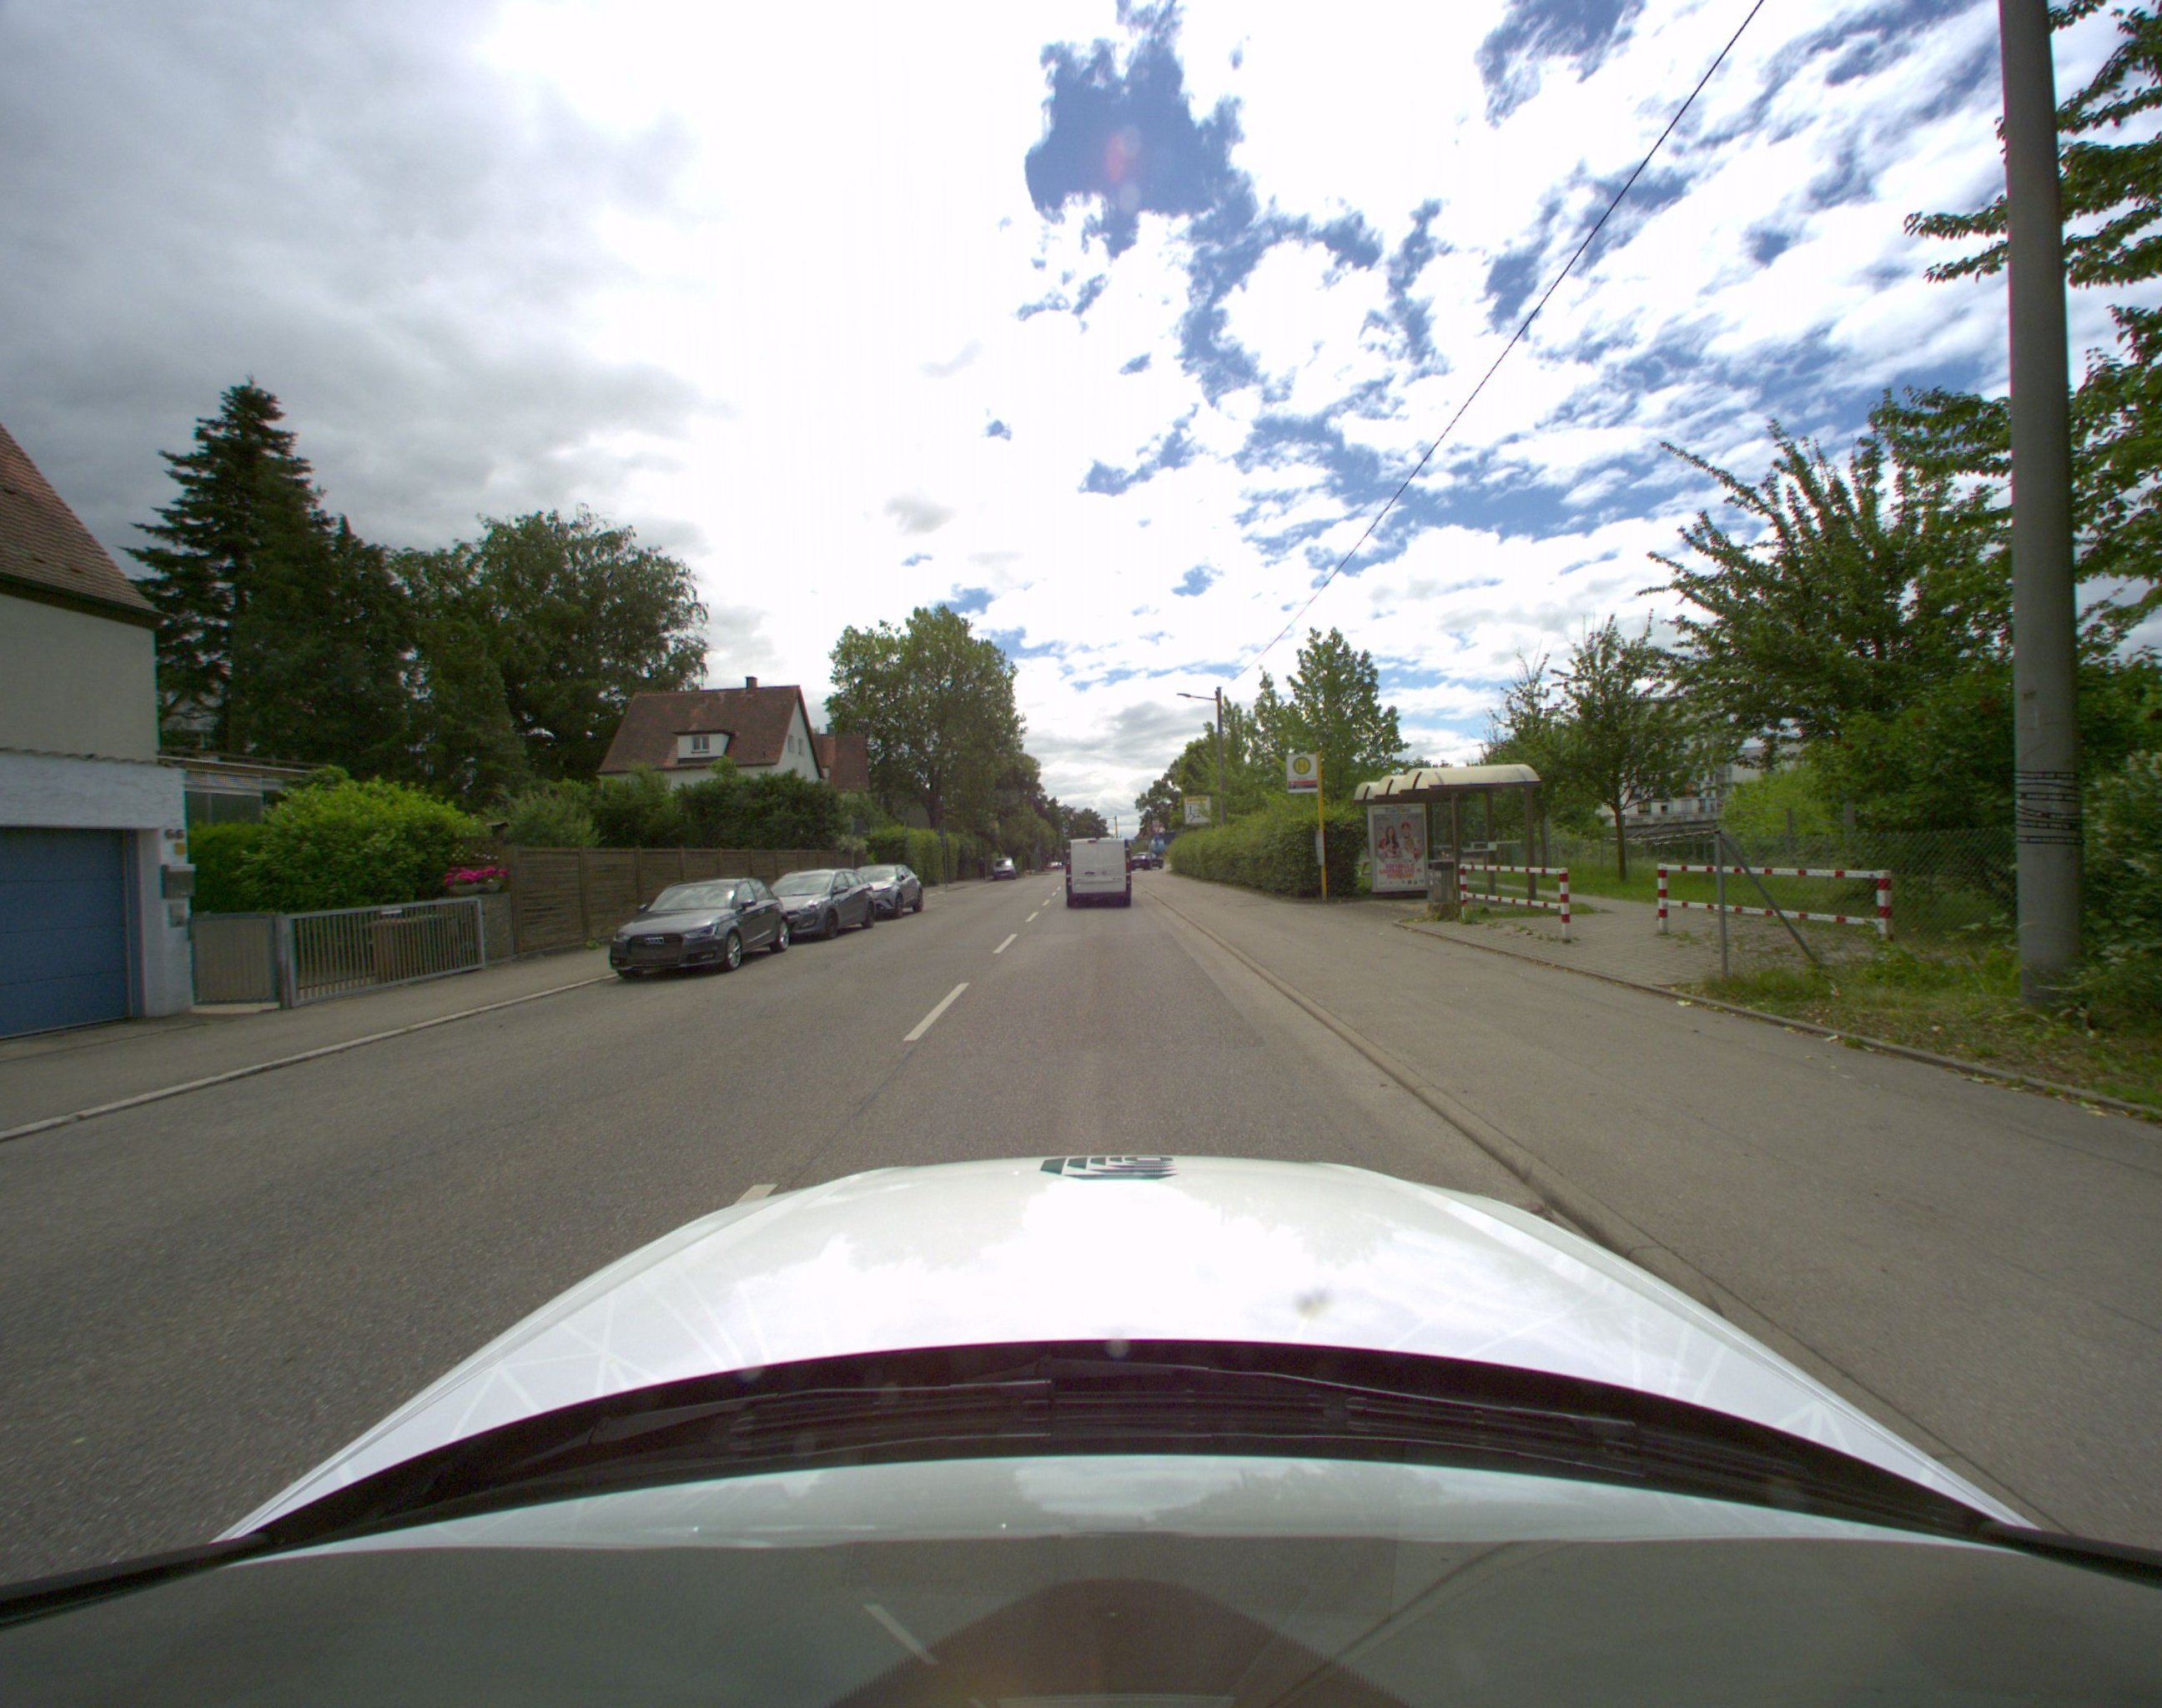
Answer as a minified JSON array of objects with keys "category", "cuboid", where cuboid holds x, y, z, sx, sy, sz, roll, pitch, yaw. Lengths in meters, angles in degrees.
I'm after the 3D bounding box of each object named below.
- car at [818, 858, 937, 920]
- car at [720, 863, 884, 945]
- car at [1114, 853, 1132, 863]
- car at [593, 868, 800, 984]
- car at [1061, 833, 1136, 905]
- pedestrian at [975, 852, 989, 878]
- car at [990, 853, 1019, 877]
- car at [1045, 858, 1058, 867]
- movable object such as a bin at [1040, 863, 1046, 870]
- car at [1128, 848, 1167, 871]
[{"category":"car","cuboid":[-5.831,0.948,24.028,1.985,1.479,4.652,-4,0,4]},{"category":"car","cuboid":[-6.018,1.005,18.222,1.859,1.459,4.492,-3,0,3]},{"category":"car","cuboid":[6.454,0.602,126.166,1.932,1.537,3.913,-3,1,-9]},{"category":"car","cuboid":[-6.159,1.054,13.585,1.647,1.427,3.902,-4,1,-3]},{"category":"car","cuboid":[0.514,0.383,24.908,2.027,1.945,4.994,-1,0,1]},{"category":"pedestrian","cuboid":[-7.720,0.850,63.238,0.870,2.013,1.039,-4,0,-3]},{"category":"car","cuboid":[-5.920,0.821,62.867,2.129,1.772,4.455,-1,0,-6]},{"category":"car","cuboid":[-5.526,1.560,152.398,2.062,1.386,4.036,-3,1,-9]},{"category":"movable object such as a bin","cuboid":[-4.916,1.575,105.043,0.626,0.863,0.642,-4,0,11]},{"category":"car","cuboid":[6.138,0.449,75.179,1.974,2.013,4.025,-1,0,31]}]
